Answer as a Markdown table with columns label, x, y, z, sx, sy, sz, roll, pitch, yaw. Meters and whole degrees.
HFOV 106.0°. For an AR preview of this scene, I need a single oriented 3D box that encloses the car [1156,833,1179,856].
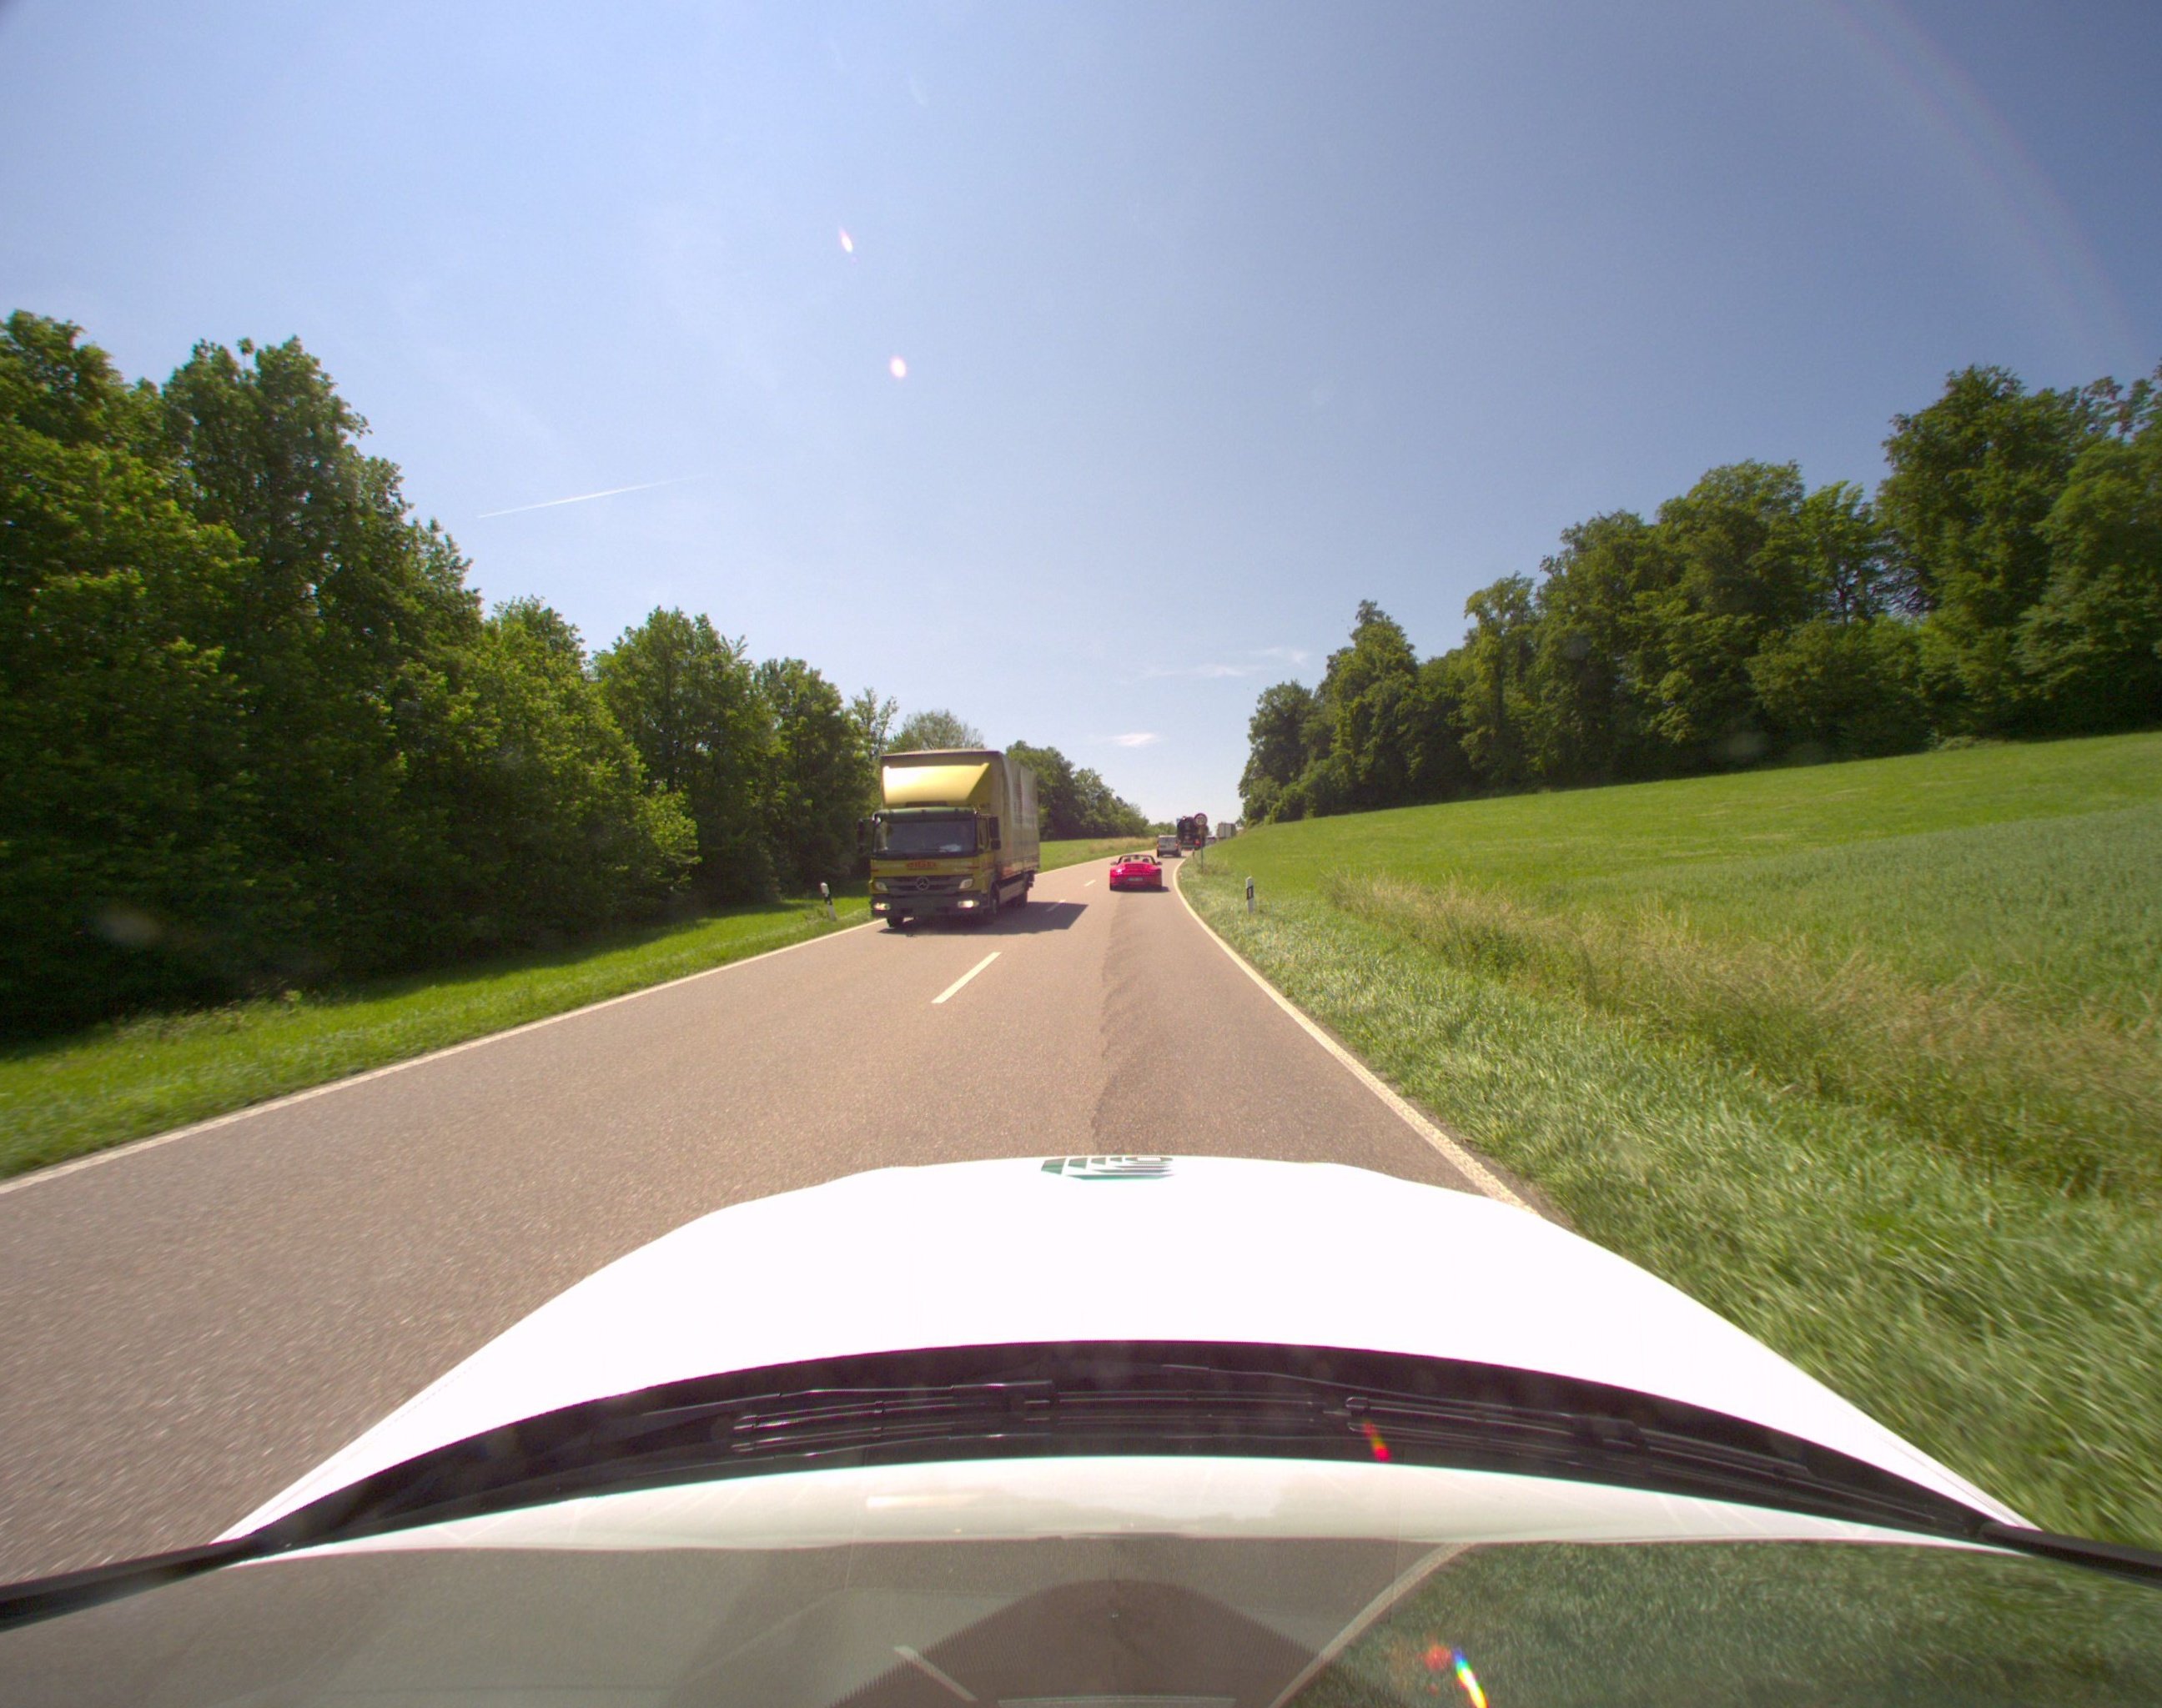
| label | x | y | z | sx | sy | sz | roll | pitch | yaw |
| --- | --- | --- | --- | --- | --- | --- | --- | --- | --- |
| car | 7.590 | -0.817 | 71.083 | 1.668 | 1.900 | 4.022 | -1 | 1 | 11 |

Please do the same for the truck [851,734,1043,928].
| label | x | y | z | sx | sy | sz | roll | pitch | yaw |
| --- | --- | --- | --- | --- | --- | --- | --- | --- | --- |
| truck | -2.800 | -0.459 | 20.006 | 2.718 | 3.690 | 8.554 | -1 | 0 | 4 |

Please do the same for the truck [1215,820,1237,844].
| label | x | y | z | sx | sy | sz | roll | pitch | yaw |
| --- | --- | --- | --- | --- | --- | --- | --- | --- | --- |
| truck | 29.505 | -4.398 | 164.968 | 3.700 | 4.660 | 12.074 | -2 | 1 | 13 |

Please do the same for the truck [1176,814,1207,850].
| label | x | y | z | sx | sy | sz | roll | pitch | yaw |
| --- | --- | --- | --- | --- | --- | --- | --- | --- | --- |
| truck | 13.526 | -2.718 | 98.910 | 2.387 | 4.049 | 12.597 | -1 | 1 | 13 |

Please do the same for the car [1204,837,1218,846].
| label | x | y | z | sx | sy | sz | roll | pitch | yaw |
| --- | --- | --- | --- | --- | --- | --- | --- | --- | --- |
| car | 21.134 | -2.042 | 132.488 | 1.817 | 1.513 | 4.207 | -2 | 1 | 14 |

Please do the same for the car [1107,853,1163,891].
| label | x | y | z | sx | sy | sz | roll | pitch | yaw |
| --- | --- | --- | --- | --- | --- | --- | --- | --- | --- |
| car | 1.958 | 0.616 | 29.875 | 1.875 | 1.255 | 4.013 | -1 | 0 | 3 |
